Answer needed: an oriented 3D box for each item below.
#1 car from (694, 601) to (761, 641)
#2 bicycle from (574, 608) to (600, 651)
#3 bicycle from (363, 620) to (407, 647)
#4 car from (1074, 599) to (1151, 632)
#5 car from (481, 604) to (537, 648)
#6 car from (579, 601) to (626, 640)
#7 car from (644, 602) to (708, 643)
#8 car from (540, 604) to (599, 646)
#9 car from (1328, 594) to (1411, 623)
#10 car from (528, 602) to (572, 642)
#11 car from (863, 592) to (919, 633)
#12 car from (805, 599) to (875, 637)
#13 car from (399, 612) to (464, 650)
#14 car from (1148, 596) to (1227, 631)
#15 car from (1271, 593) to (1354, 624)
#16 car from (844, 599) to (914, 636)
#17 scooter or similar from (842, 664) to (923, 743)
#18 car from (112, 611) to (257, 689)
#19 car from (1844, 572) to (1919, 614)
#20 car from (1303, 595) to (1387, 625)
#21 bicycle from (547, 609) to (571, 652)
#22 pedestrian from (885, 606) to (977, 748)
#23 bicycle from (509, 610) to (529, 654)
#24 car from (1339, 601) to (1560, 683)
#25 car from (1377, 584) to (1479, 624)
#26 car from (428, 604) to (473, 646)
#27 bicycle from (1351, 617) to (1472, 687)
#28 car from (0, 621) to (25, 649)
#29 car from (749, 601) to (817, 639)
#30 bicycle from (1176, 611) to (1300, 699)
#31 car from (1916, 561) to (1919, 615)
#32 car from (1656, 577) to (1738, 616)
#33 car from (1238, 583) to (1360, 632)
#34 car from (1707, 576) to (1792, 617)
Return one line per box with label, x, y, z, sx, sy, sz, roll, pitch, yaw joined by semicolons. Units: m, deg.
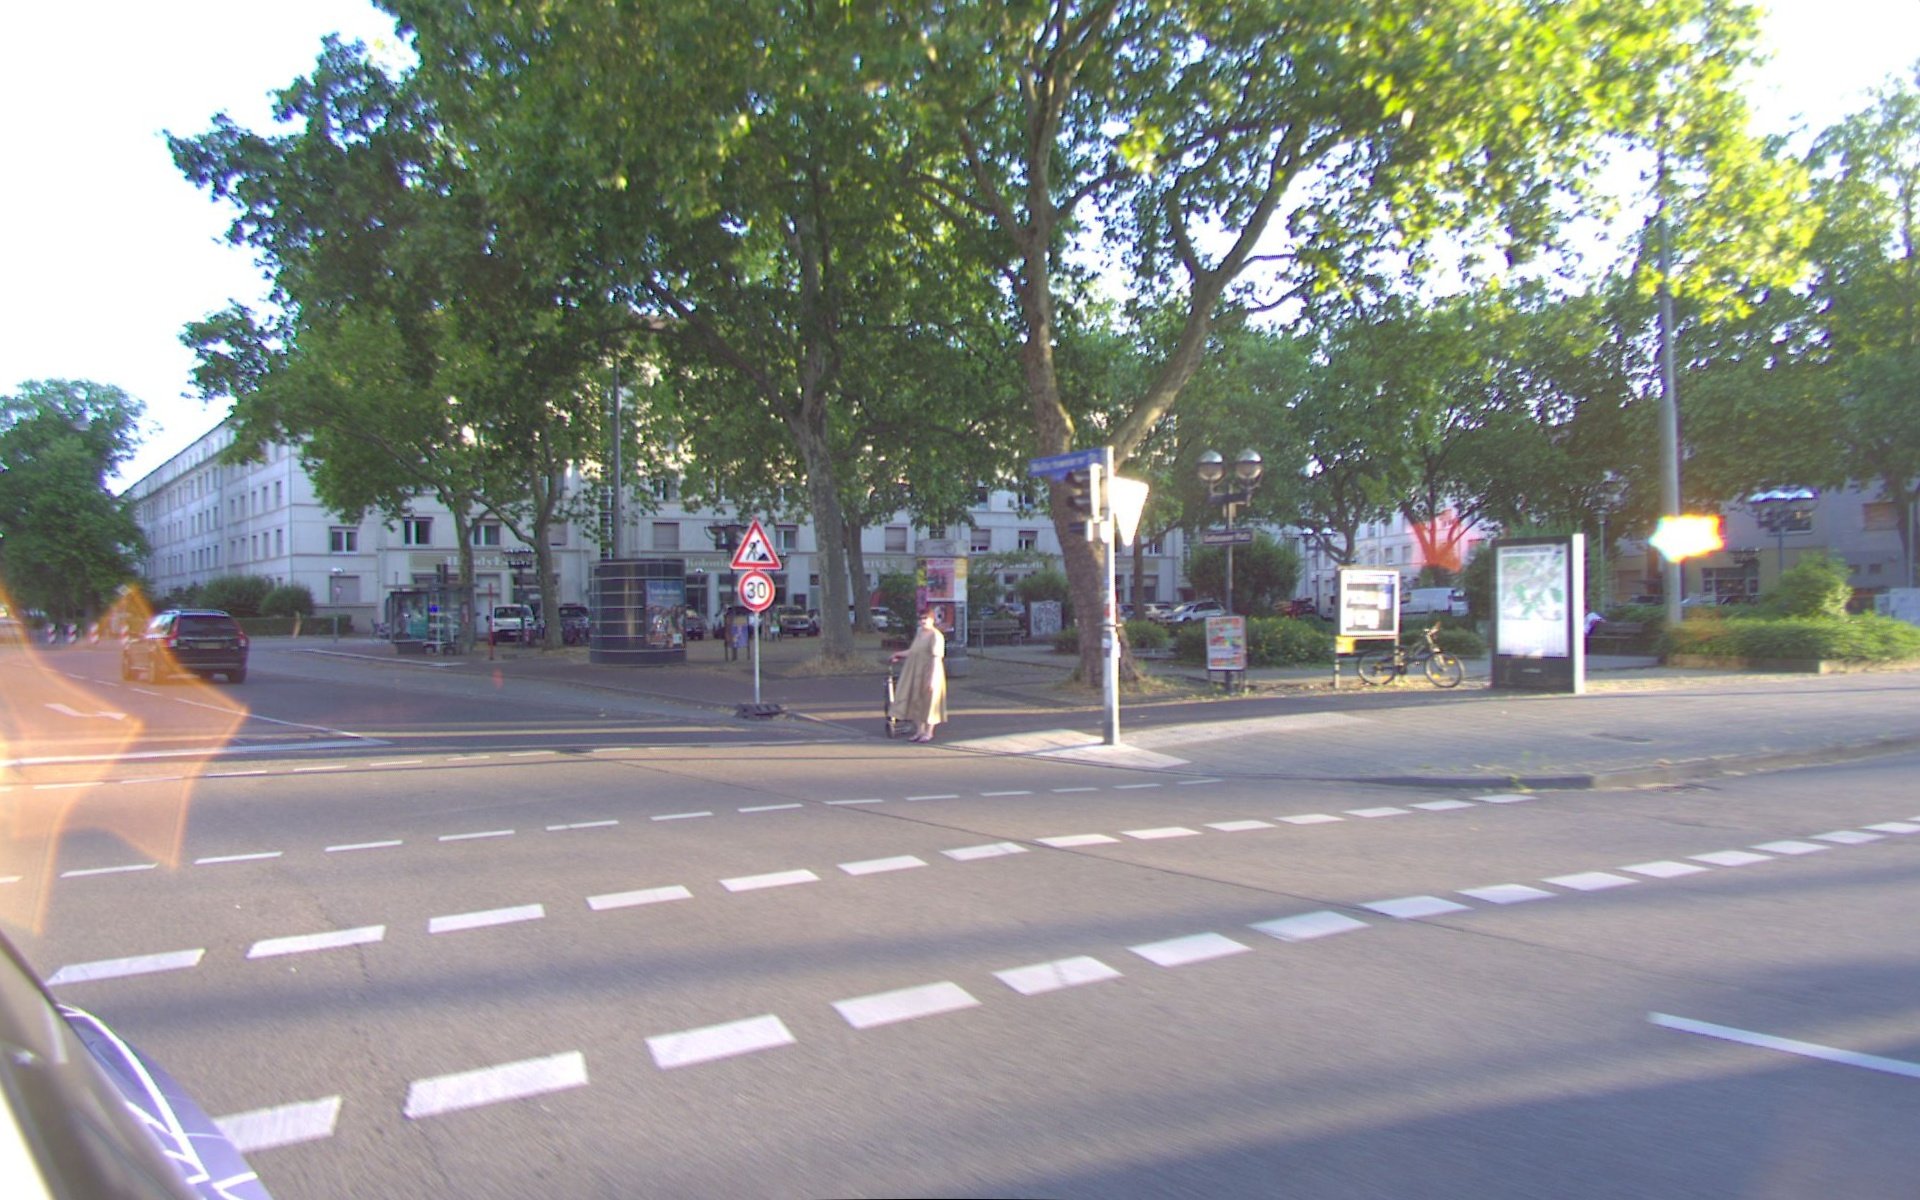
car;-11.138;1.045;48.260;1.965;1.795;4.655;0;-2;-27
bicycle;-15.267;1.191;41.368;0.795;1.626;2.754;-1;1;-23
bicycle;-28.466;1.650;50.099;1.776;1.215;0.649;-1;1;-15
car;8.637;0.918;57.830;1.965;1.748;4.655;0;-2;-27
car;-19.678;1.171;44.044;1.965;1.795;4.655;0;-2;-27
car;-19.783;1.090;55.884;1.965;1.970;4.656;0;1;-25
car;-13.366;1.095;47.381;1.965;1.795;4.655;0;-2;-27
car;-17.610;1.146;45.467;1.965;1.795;4.655;0;-2;-27
car;26.776;0.615;66.326;1.968;1.748;4.648;1;-3;-39
car;-22.211;1.157;54.742;1.965;1.970;4.656;0;1;-25
car;-4.410;0.745;64.202;1.965;2.460;4.656;0;1;-25
car;-6.108;0.944;50.925;1.965;1.795;4.655;0;-2;-27
car;-22.606;1.350;43.227;1.966;1.515;4.653;1;-2;-34
car;11.828;0.674;52.627;3.697;1.674;1.680;-1;1;-22
car;22.238;0.573;63.986;1.967;1.824;4.659;1;-3;-37
car;-4.242;0.963;52.314;1.965;1.795;4.655;0;-2;-27
scooter or similar;-0.992;1.307;12.949;0.850;0.904;0.586;0;1;37
car;-19.620;1.228;25.538;4.795;1.798;1.973;-2;-3;41
car;43.318;-0.341;47.070;3.931;1.862;1.924;-2;1;-26
car;24.692;0.680;65.029;1.968;1.748;4.648;1;-3;-39
bicycle;-16.215;1.191;40.868;0.795;1.626;2.754;-1;1;-23
pedestrian;-0.353;0.909;12.426;0.772;1.640;0.794;0;1;37
bicycle;-17.408;1.229;39.961;0.680;1.626;2.754;-1;1;-23
car;11.741;1.006;24.684;1.965;1.795;4.655;0;-2;-23
car;24.758;0.278;53.720;1.965;1.953;4.655;0;-2;-27
car;-26.351;1.236;52.468;1.965;1.970;4.656;0;1;-25
bicycle;7.578;0.854;17.043;1.798;1.101;0.453;0;1;40
car;-58.535;2.144;61.920;1.866;1.612;4.004;-2;1;-43
car;-8.703;1.014;49.469;1.965;1.795;4.655;0;-2;-27
bicycle;4.556;0.870;16.713;0.519;1.336;1.996;-2;1;-43
car;44.376;-0.568;44.583;3.931;2.361;2.007;-2;1;-26
car;39.966;-0.215;54.898;3.931;2.029;2.007;-2;1;-26
car;13.253;0.313;39.542;4.423;1.795;2.006;0;-2;-28
car;41.198;-0.203;52.810;3.931;2.029;2.007;-2;1;-26
